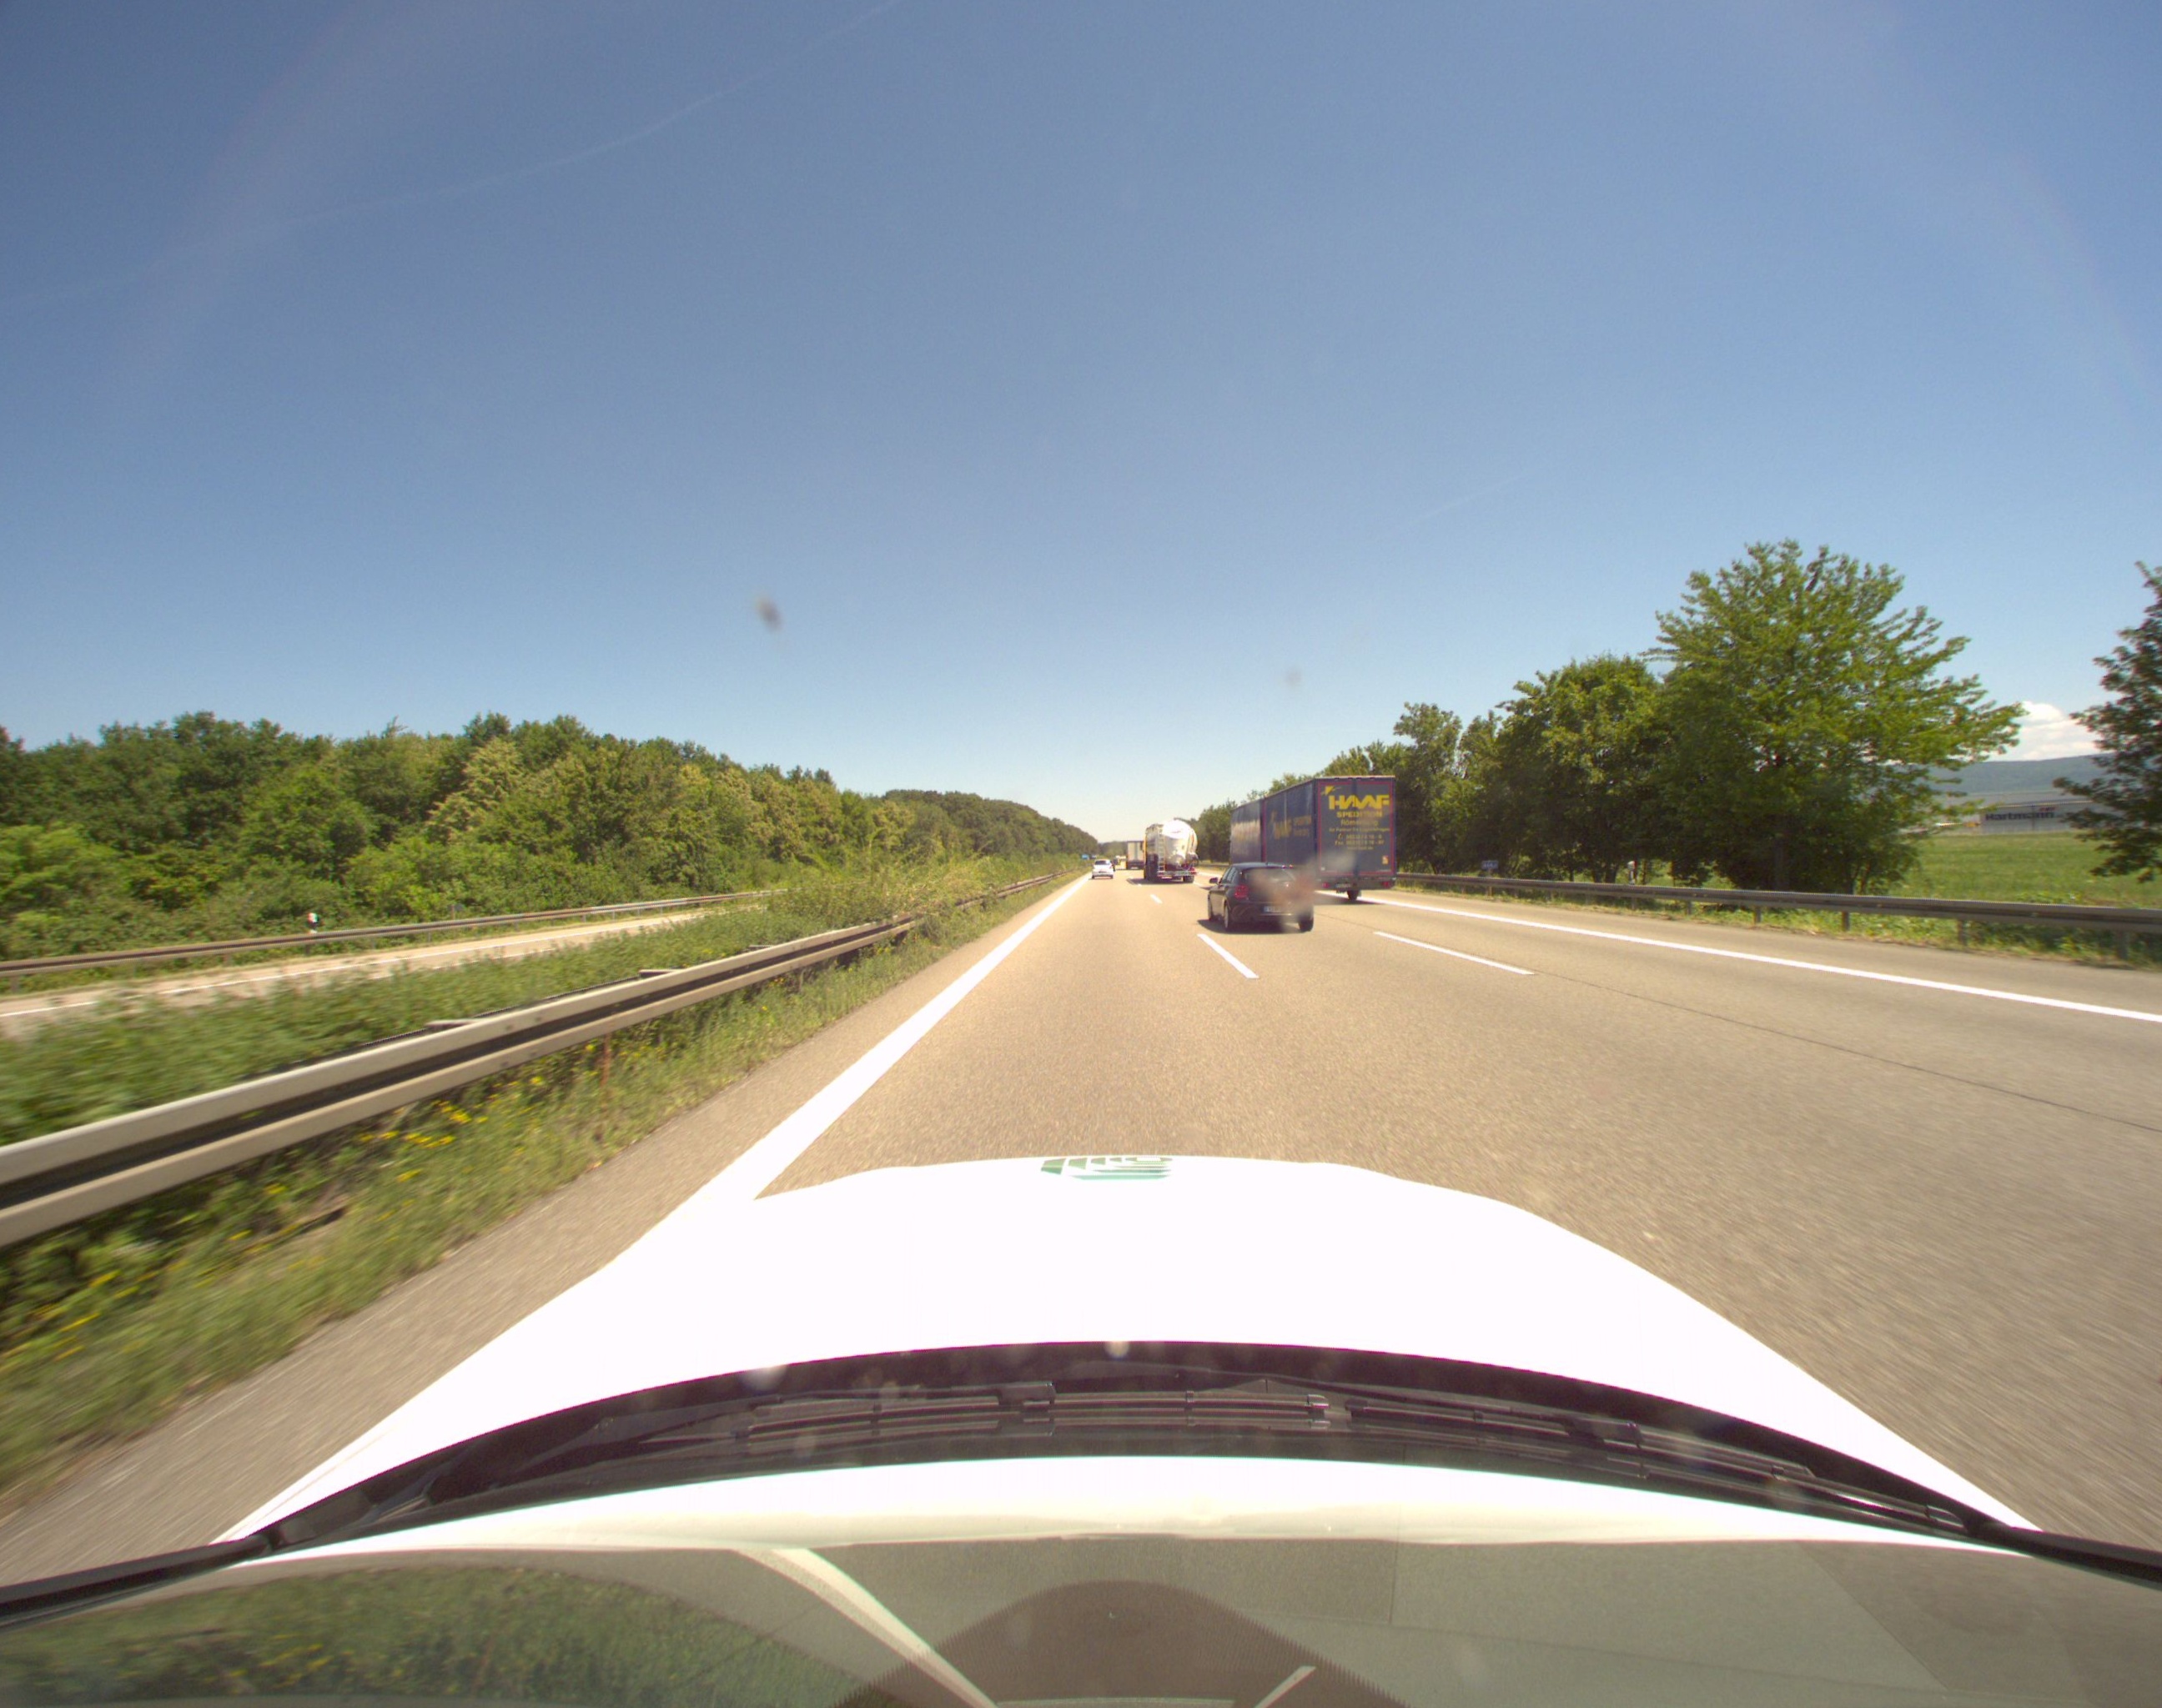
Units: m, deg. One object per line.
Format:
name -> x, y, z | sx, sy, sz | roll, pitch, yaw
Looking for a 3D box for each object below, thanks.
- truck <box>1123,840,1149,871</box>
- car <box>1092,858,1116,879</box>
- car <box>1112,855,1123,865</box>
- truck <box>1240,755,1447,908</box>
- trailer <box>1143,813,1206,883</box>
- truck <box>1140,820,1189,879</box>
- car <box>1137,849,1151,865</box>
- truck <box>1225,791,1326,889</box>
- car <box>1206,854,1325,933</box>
truck -> 7.868, 0.206, 117.448 | 3.381, 4.214, 12.088 | 0, 0, 2
car -> 1.769, 1.120, 64.298 | 1.793, 1.552, 3.610 | 0, 0, 0
car -> 8.677, 1.380, 193.781 | 2.466, 2.354, 5.184 | 0, 0, 2
truck -> 8.677, -0.603, 29.953 | 3.097, 4.139, 15.518 | 0, 0, 2
trailer -> 5.924, -0.327, 53.754 | 2.901, 4.069, 12.419 | 0, 0, 1
truck -> 6.005, -0.307, 59.817 | 2.902, 4.079, 7.195 | 0, 0, 0
car -> 12.826, 0.633, 165.870 | 2.659, 3.189, 5.569 | 0, 0, 2
truck -> 8.983, -0.592, 38.589 | 3.097, 4.139, 8.060 | 0, 0, 2
car -> 3.883, 0.770, 17.755 | 1.843, 1.523, 3.959 | 0, 0, 2
